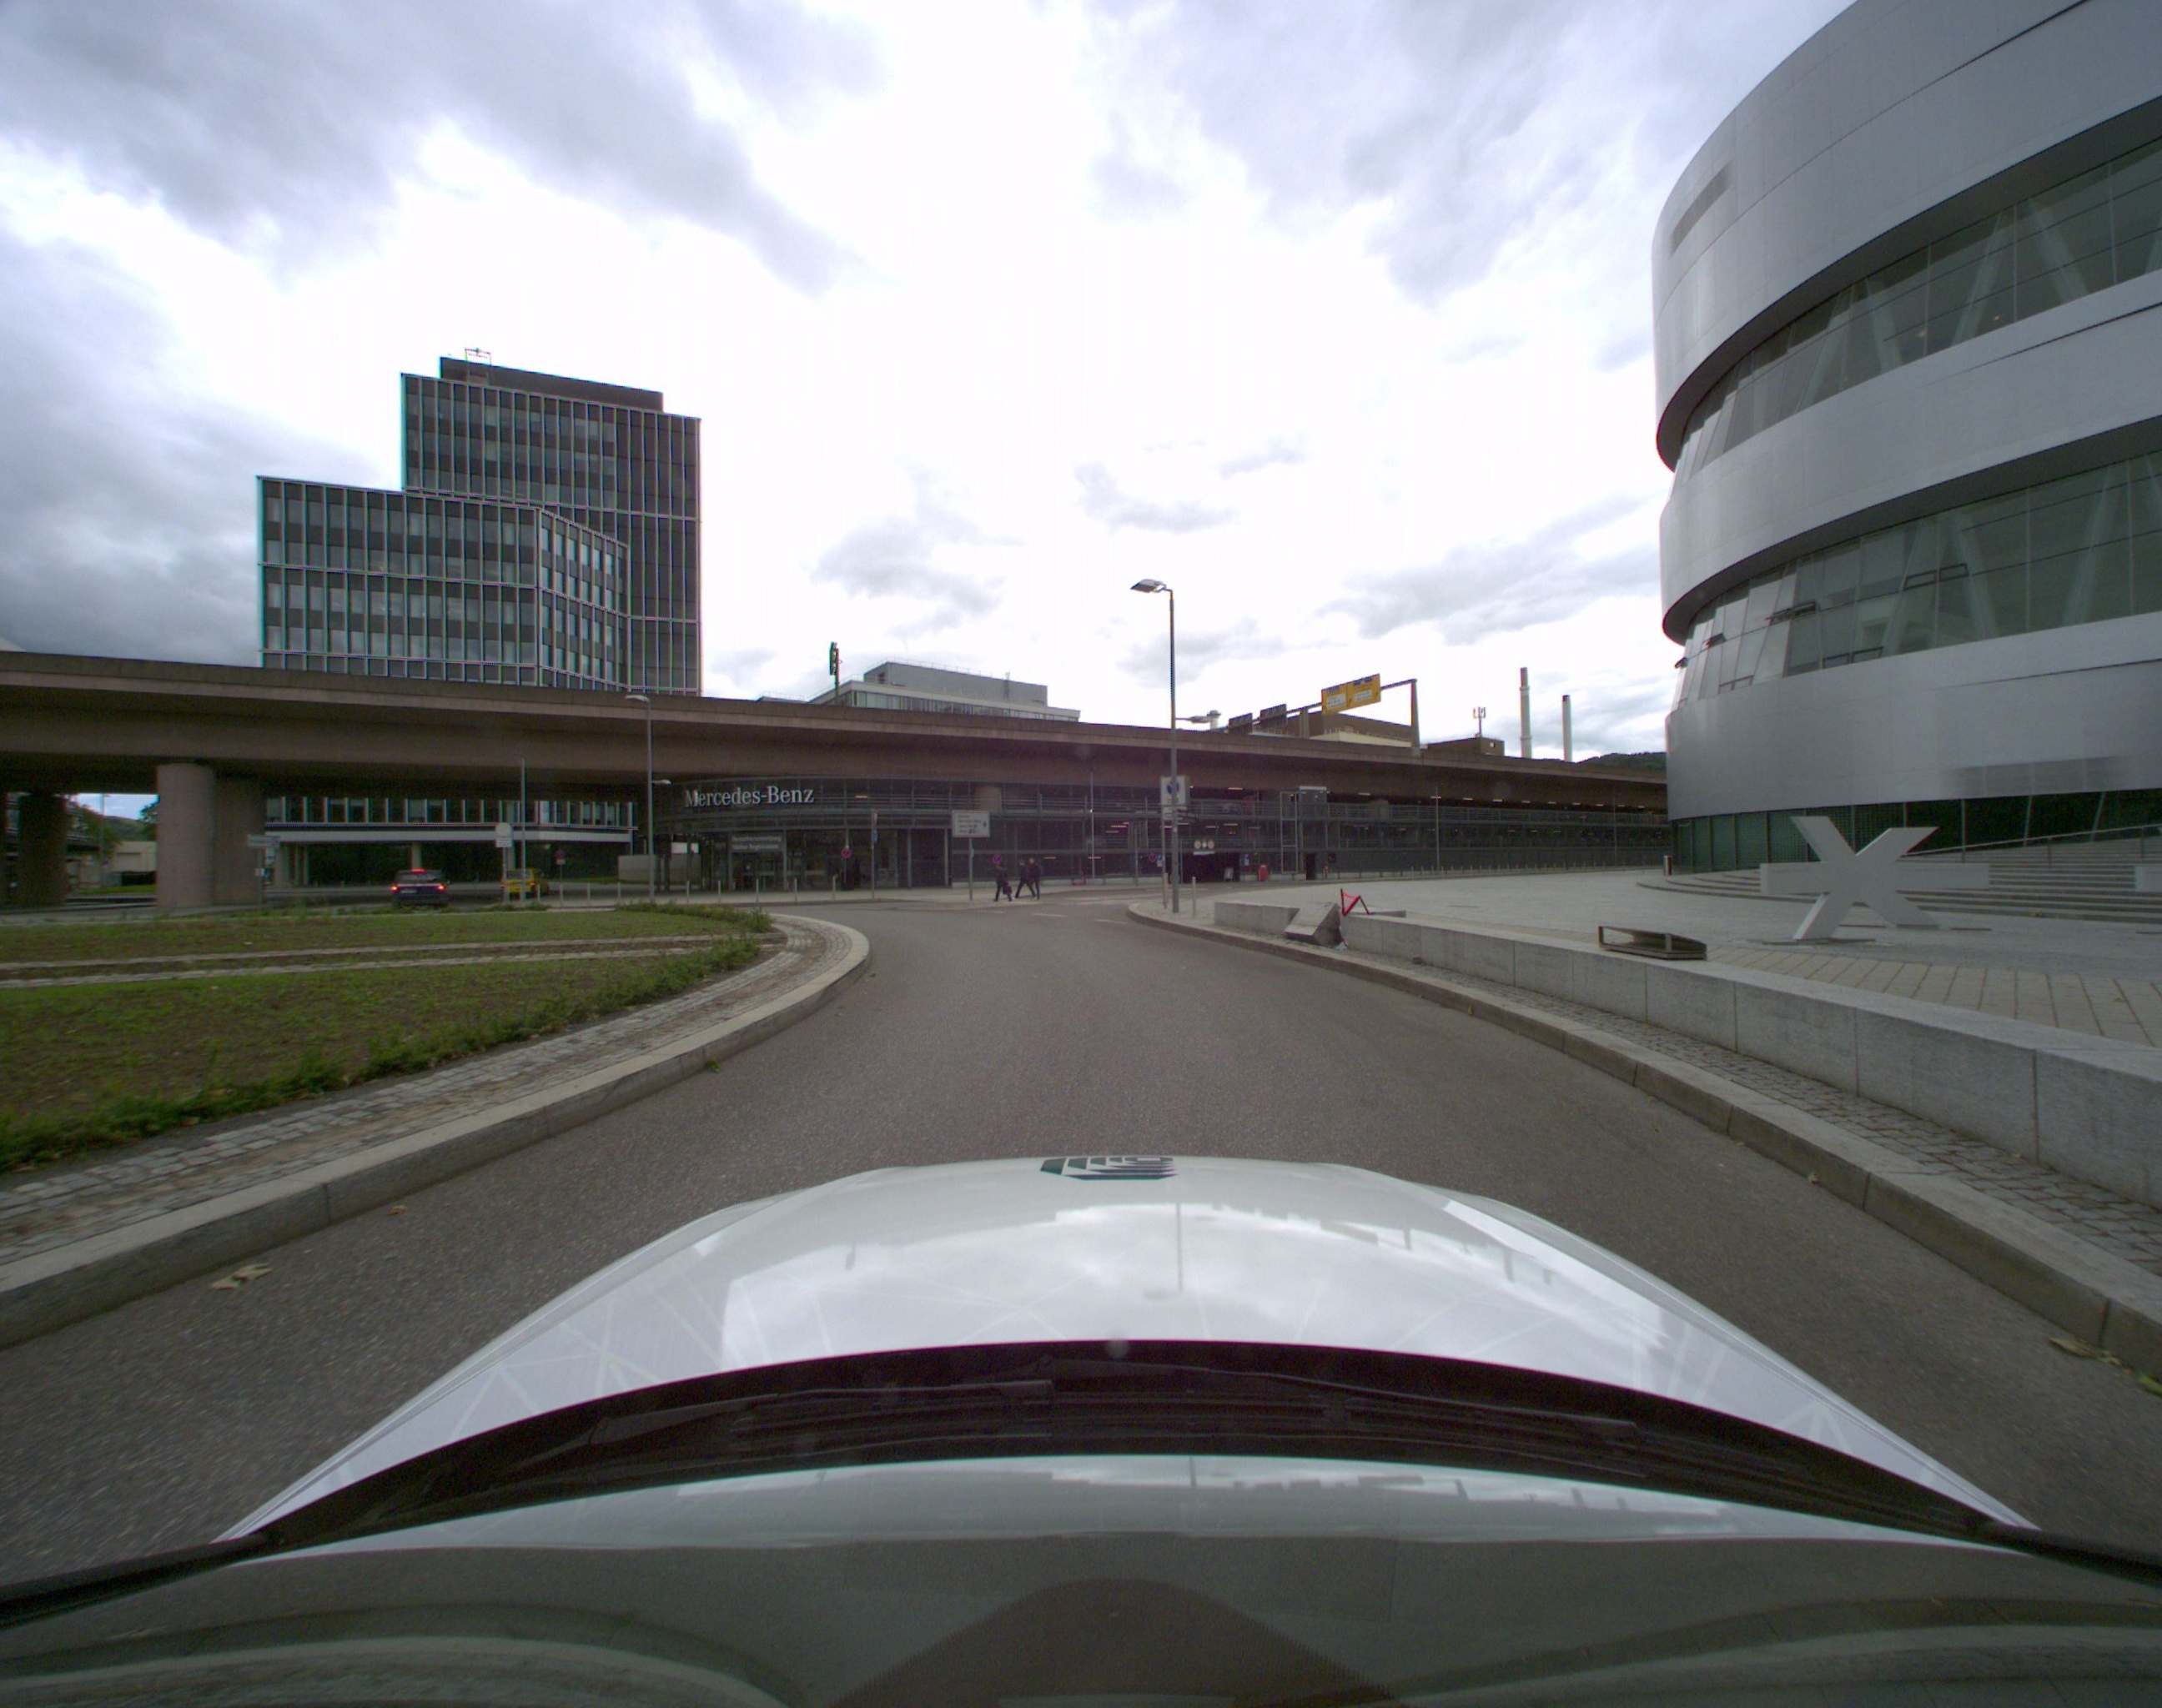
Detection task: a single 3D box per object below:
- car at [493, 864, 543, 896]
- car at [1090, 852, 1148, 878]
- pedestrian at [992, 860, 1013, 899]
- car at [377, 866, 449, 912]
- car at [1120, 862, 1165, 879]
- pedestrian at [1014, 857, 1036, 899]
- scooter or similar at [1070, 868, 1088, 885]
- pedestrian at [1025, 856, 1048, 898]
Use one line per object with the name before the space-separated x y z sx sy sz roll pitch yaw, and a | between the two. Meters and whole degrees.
car | -36.657 1.689 53.111 2.003 2.014 3.967 0 -2 -25
car | 2.890 0.826 61.893 4.008 1.904 1.983 0 -1 -26
pedestrian | -3.214 1.044 33.573 0.829 1.570 0.689 0 -2 -5
car | -31.546 1.618 38.414 2.296 2.014 4.725 1 -2 -43
car | 6.082 1.602 80.352 4.008 1.574 1.983 0 -1 -26
pedestrian | -2.362 0.998 34.239 0.832 1.741 0.686 0 -2 -15
scooter or similar | -0.163 1.562 56.971 1.237 1.194 0.352 0 -2 -28
pedestrian | -1.924 0.984 34.906 0.833 1.741 0.686 0 -2 -19
